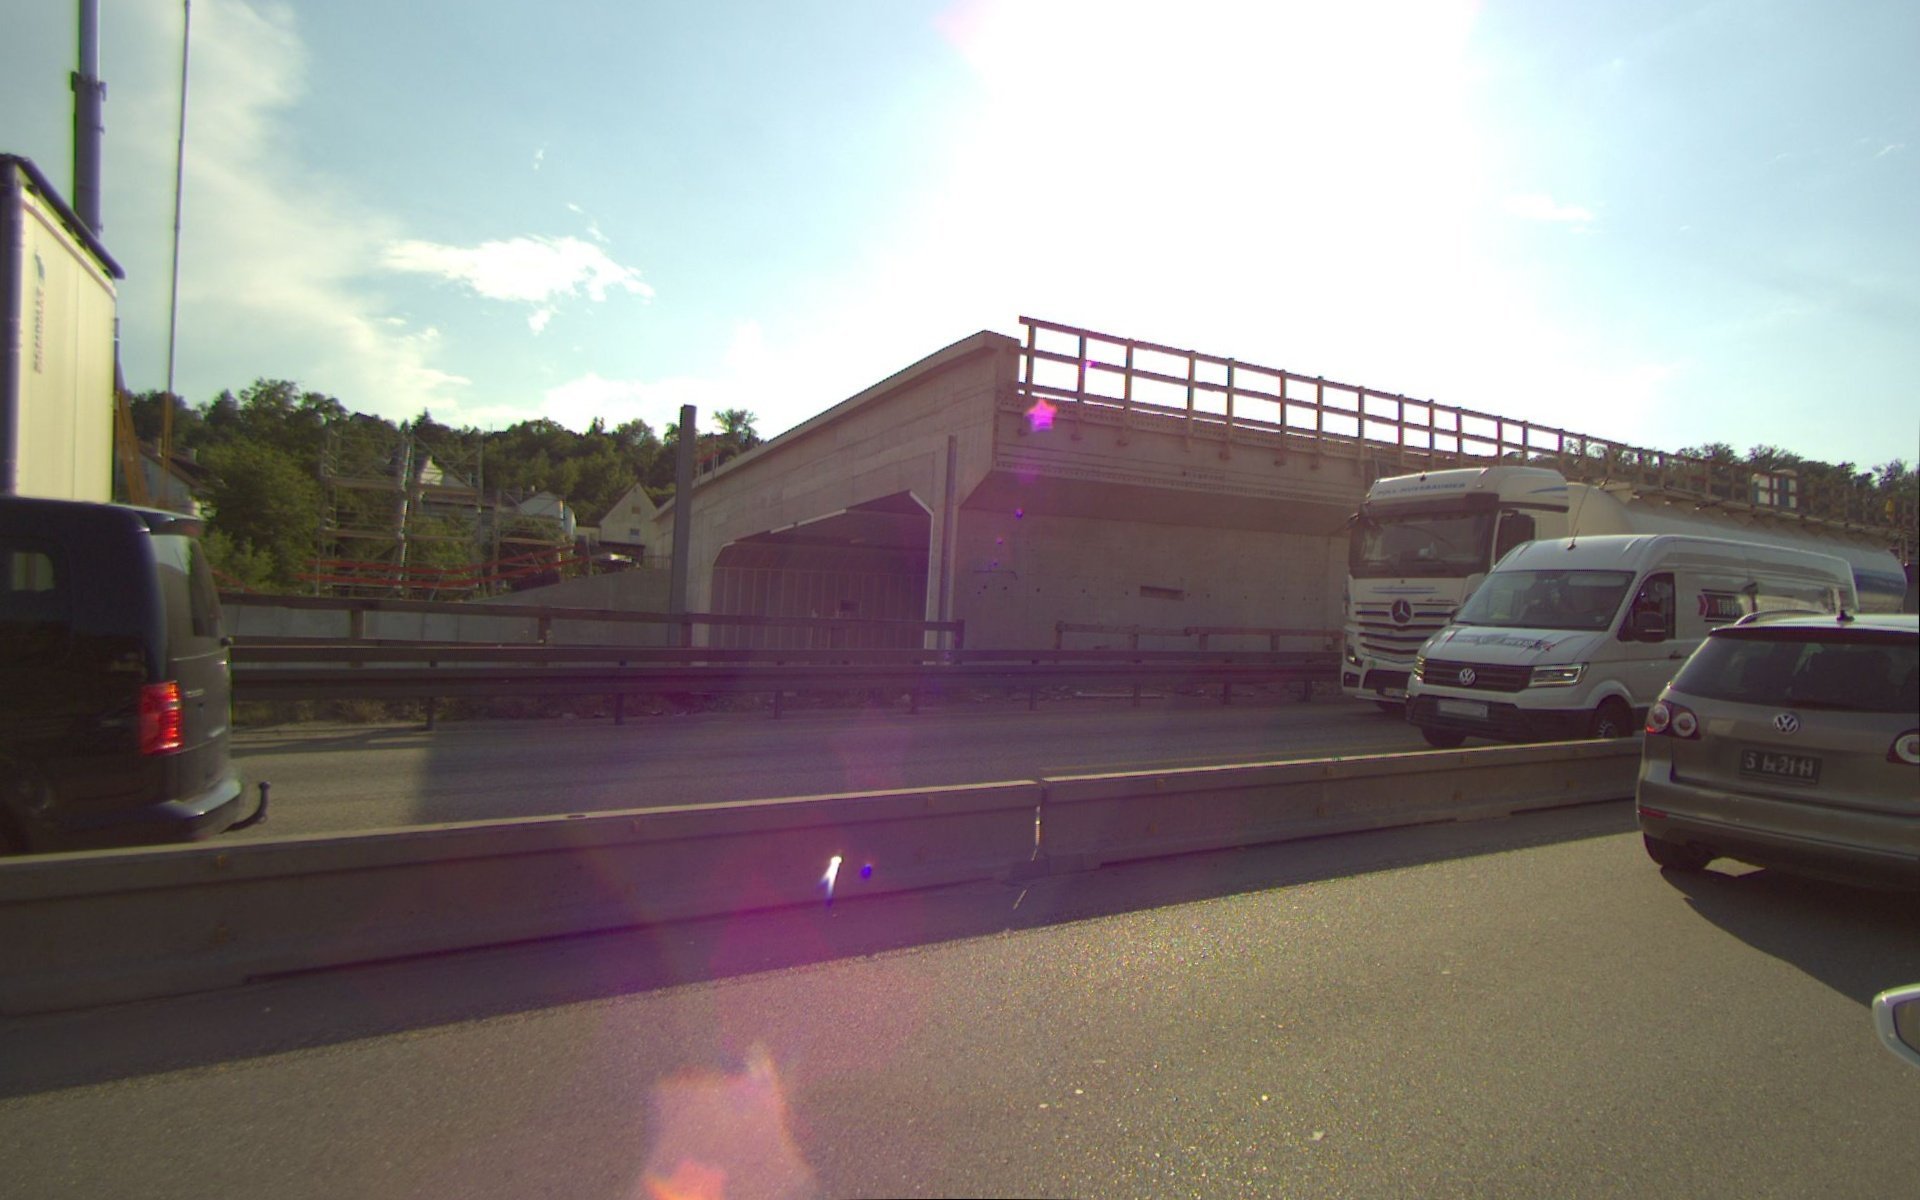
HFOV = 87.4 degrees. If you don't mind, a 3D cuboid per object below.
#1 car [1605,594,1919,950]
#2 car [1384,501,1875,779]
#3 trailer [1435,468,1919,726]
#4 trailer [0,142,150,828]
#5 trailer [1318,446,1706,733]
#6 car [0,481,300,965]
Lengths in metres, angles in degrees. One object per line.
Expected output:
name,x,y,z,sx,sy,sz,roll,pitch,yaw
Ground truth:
car,5.920,0.858,6.083,4.222,1.609,1.672,3,-1,-31
car,8.468,0.486,12.338,7.324,2.657,1.984,2,0,-31
trailer,14.690,0.142,19.751,13.288,3.901,2.639,2,0,-31
trailer,-12.160,-0.908,3.899,13.614,4.090,2.911,2,0,-31
trailer,9.119,-0.062,16.423,6.355,3.901,2.639,2,0,-31
car,-5.488,0.415,3.845,4.797,1.867,1.772,2,0,-31
